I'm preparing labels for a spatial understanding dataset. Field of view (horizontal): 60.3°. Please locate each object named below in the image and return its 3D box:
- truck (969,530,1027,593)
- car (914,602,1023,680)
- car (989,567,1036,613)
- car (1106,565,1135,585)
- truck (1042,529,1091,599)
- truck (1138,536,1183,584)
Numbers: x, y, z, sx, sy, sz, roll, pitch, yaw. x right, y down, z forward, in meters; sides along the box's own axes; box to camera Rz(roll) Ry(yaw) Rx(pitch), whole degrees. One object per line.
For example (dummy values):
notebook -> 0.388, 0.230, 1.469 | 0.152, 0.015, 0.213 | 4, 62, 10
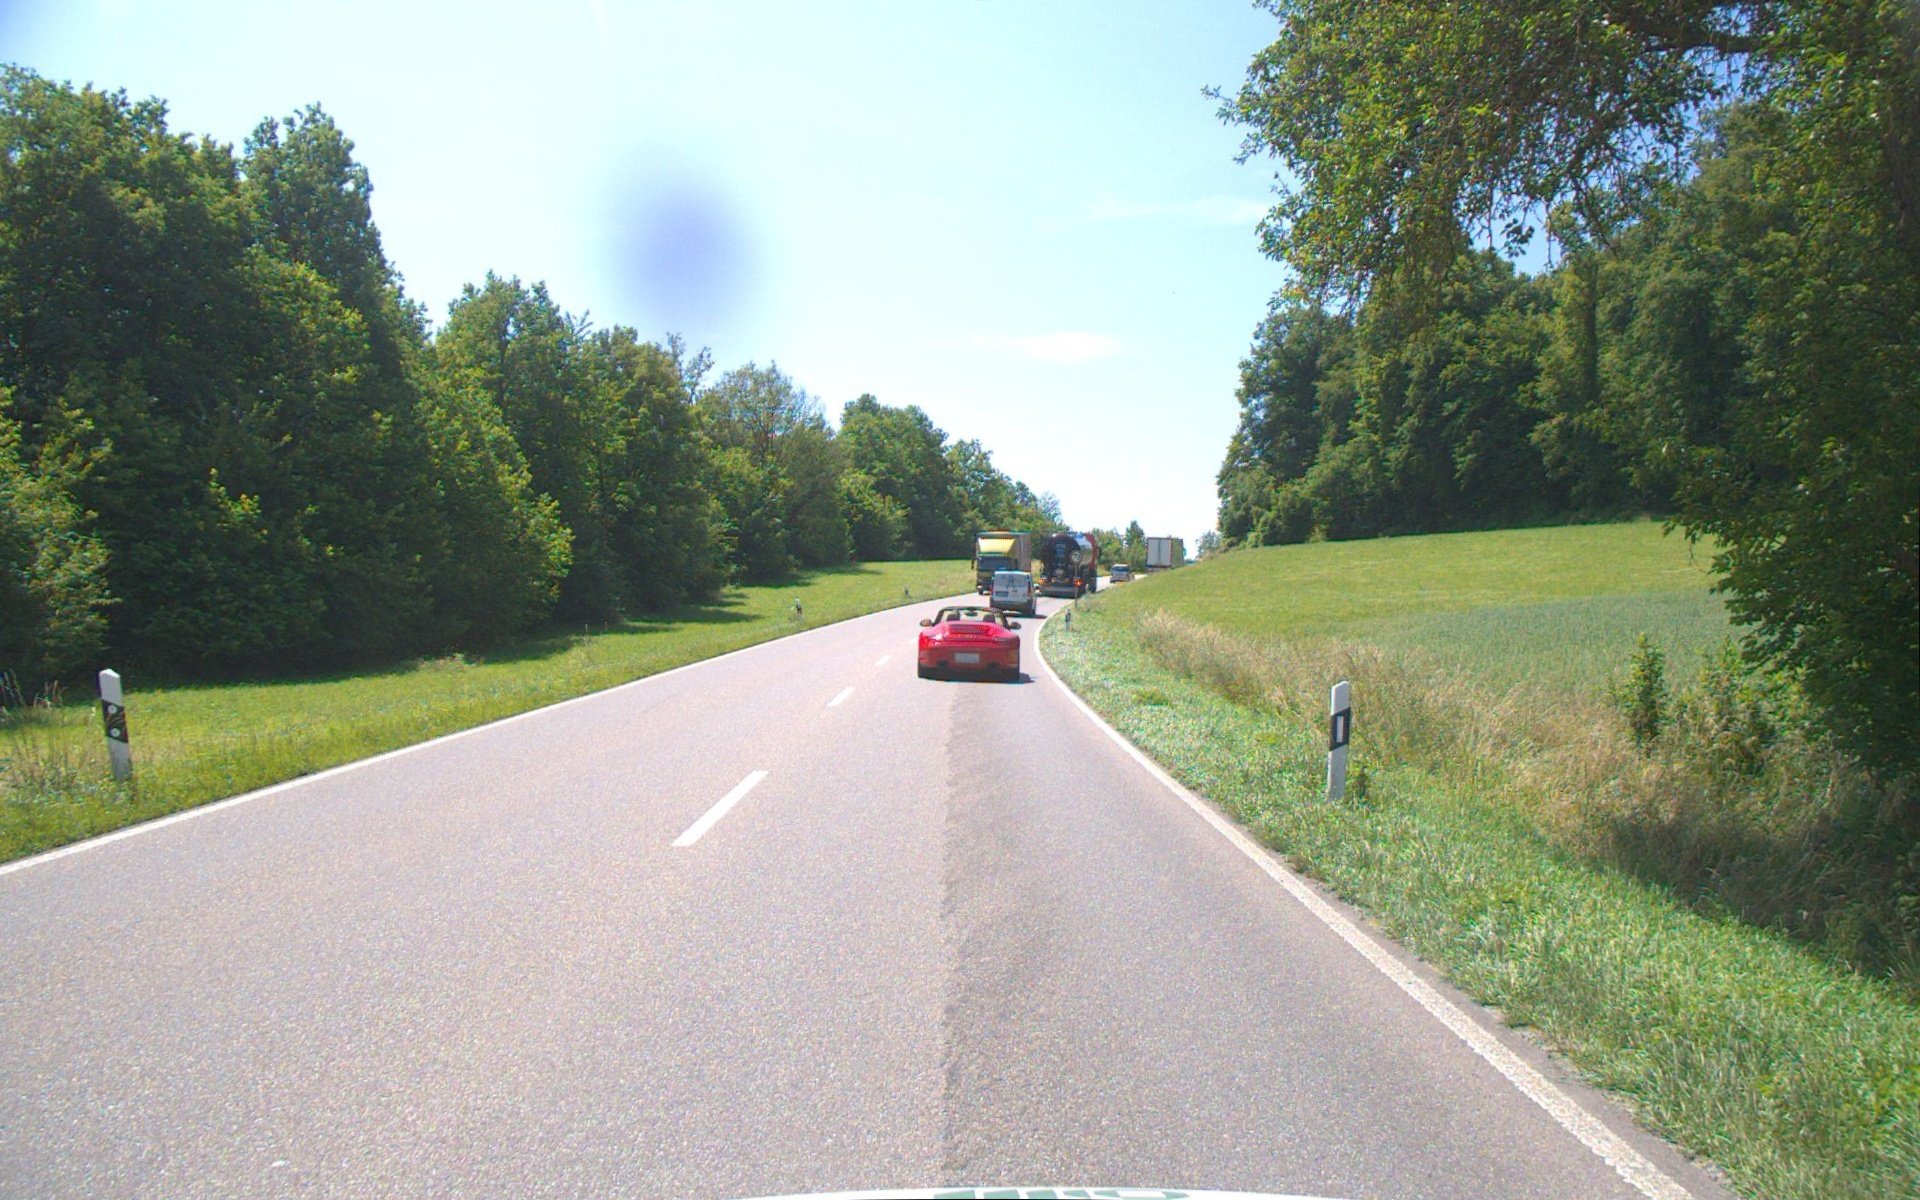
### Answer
truck -> 2.459, -2.358, 103.658 | 2.672, 3.755, 8.553 | 1, 1, 7
car -> 0.166, 0.707, 30.528 | 1.844, 1.277, 4.009 | 1, 0, 0
car -> 2.342, -0.451, 72.700 | 1.643, 1.934, 4.012 | 1, 0, 7
car -> 13.479, -2.107, 138.832 | 1.792, 1.540, 4.194 | 1, 2, 14
truck -> 6.854, -2.298, 105.302 | 2.353, 4.120, 12.561 | -1, 1, 7
truck -> 20.784, -4.119, 170.971 | 3.646, 4.741, 12.043 | 1, 2, 11
